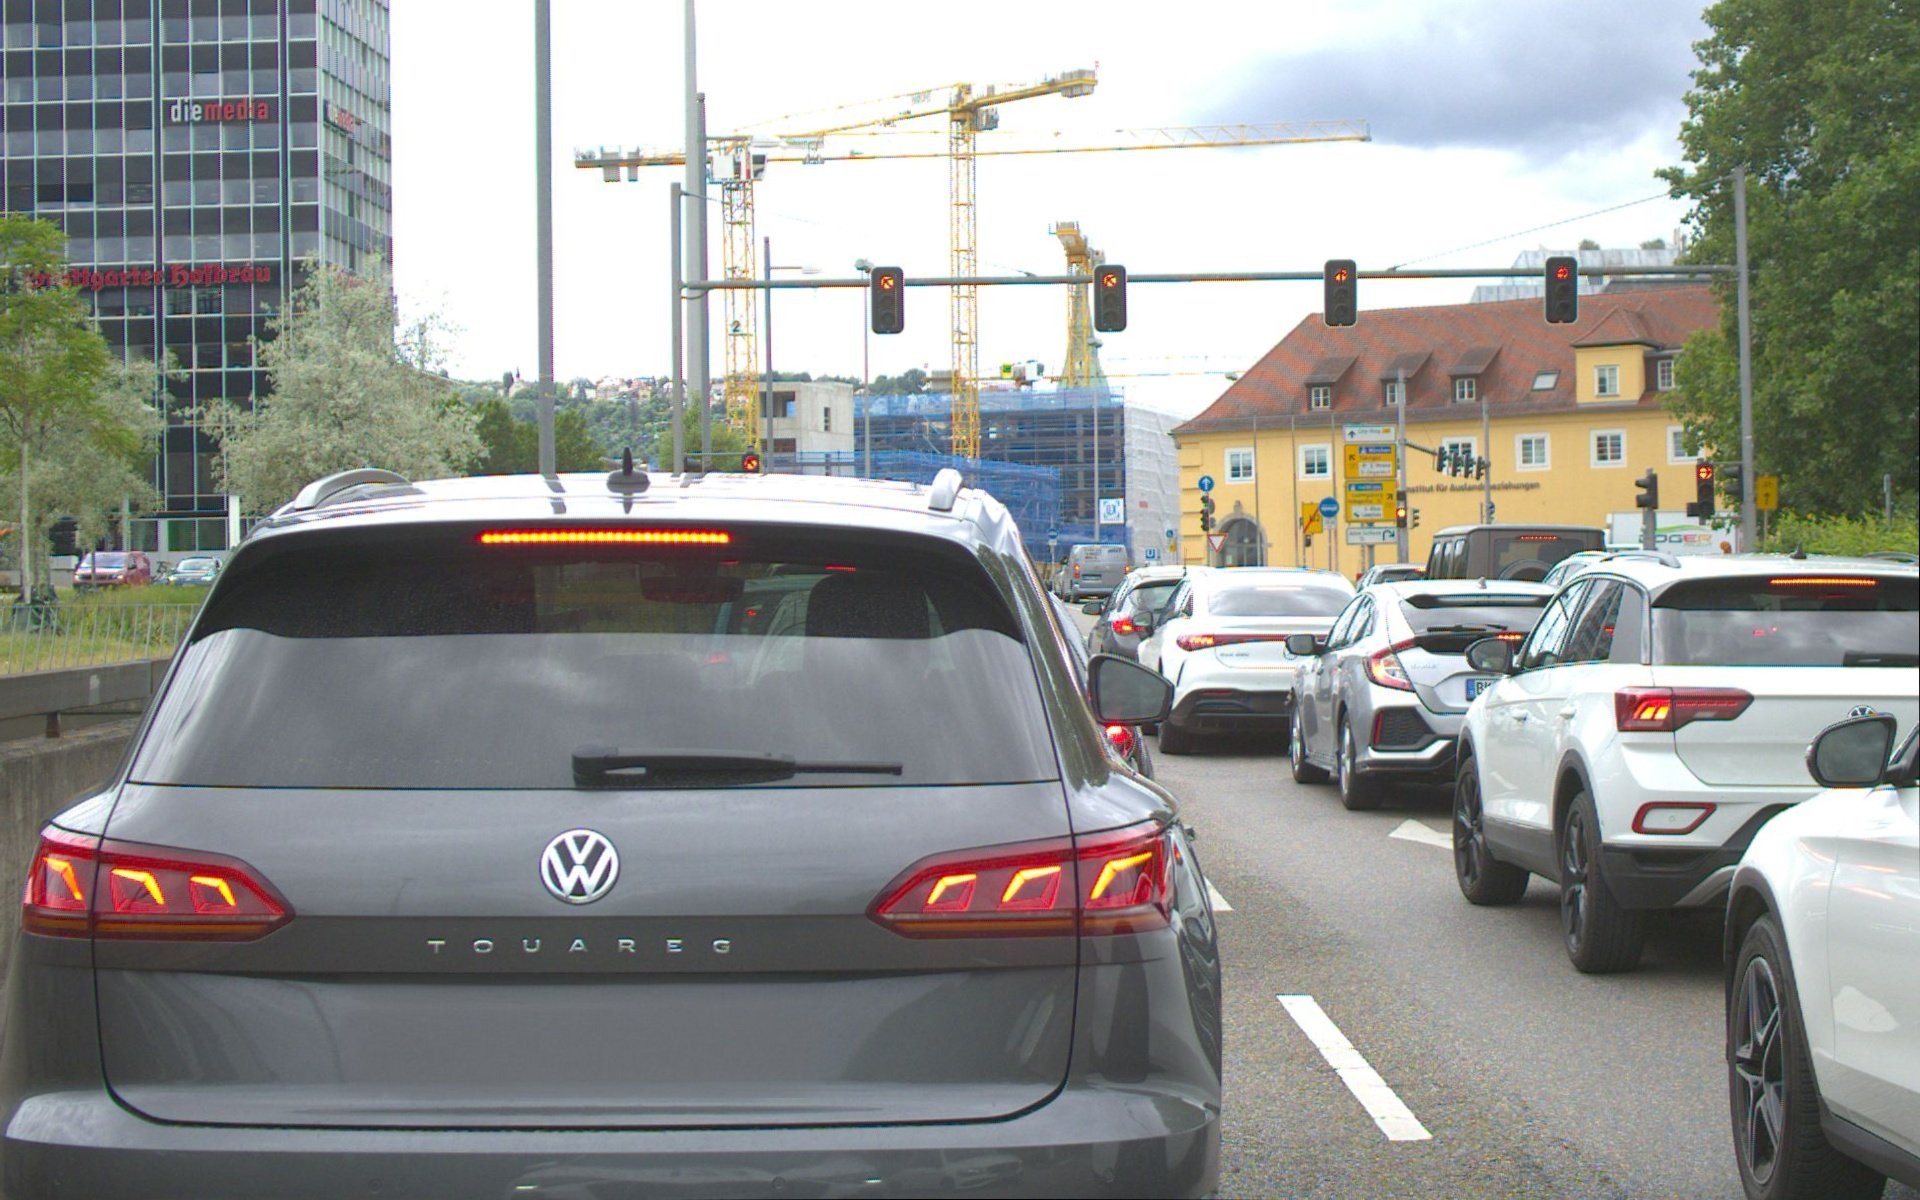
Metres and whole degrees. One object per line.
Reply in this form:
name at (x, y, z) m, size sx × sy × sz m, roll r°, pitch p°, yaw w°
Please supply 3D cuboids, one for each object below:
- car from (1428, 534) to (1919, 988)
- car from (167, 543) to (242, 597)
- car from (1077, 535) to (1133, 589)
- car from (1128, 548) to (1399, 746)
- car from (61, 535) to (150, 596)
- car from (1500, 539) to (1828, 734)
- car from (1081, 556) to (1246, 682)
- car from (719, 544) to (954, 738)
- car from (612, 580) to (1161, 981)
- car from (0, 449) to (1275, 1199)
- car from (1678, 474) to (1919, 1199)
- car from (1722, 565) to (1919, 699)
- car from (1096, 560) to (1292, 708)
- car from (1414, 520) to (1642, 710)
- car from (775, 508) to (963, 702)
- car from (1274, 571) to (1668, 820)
car at (3.152, 0.549, 14.011) m, size 1.926 × 1.545 × 4.489 m, roll 0°, pitch 0°, yaw 1°
car at (-29.928, -1.221, 136.241) m, size 1.993 × 2.006 × 4.692 m, roll 0°, pitch 2°, yaw -1°
car at (4.679, -1.205, 111.296) m, size 1.619 × 1.622 × 4.000 m, roll 1°, pitch -1°, yaw 0°
car at (2.464, 0.360, 28.921) m, size 1.926 × 1.524 × 4.489 m, roll 0°, pitch 0°, yaw 1°
car at (-29.826, -1.218, 120.170) m, size 1.993 × 2.006 × 4.692 m, roll 0°, pitch 2°, yaw -1°
car at (6.537, 0.285, 32.418) m, size 1.993 × 1.634 × 4.305 m, roll 0°, pitch 2°, yaw -3°
car at (2.557, 0.228, 44.030) m, size 1.926 × 1.524 × 4.047 m, roll 0°, pitch 0°, yaw 1°
car at (-1.070, 0.327, 31.025) m, size 1.951 × 1.594 × 3.931 m, roll 1°, pitch 1°, yaw -1°
car at (-0.294, 0.643, 14.397) m, size 1.951 × 1.379 × 3.931 m, roll 1°, pitch 1°, yaw -1°
car at (-0.578, 0.598, 6.660) m, size 1.951 × 1.646 × 4.000 m, roll 0°, pitch 1°, yaw -1°
car at (2.709, 0.595, 6.213) m, size 1.926 × 1.648 × 4.490 m, roll 0°, pitch 1°, yaw 1°
car at (10.218, 0.372, 40.166) m, size 1.932 × 1.455 × 4.526 m, roll 1°, pitch 0°, yaw 4°
car at (2.512, 0.347, 37.742) m, size 1.926 × 1.524 × 4.047 m, roll 0°, pitch 0°, yaw 1°
car at (6.393, 0.154, 39.108) m, size 1.910 × 2.007 × 4.012 m, roll 1°, pitch 0°, yaw 0°
car at (-0.998, 0.034, 38.558) m, size 1.951 × 2.011 × 3.931 m, roll 1°, pitch 1°, yaw -1°
car at (3.171, 0.550, 22.196) m, size 1.926 × 1.427 × 4.489 m, roll 0°, pitch 0°, yaw 1°
